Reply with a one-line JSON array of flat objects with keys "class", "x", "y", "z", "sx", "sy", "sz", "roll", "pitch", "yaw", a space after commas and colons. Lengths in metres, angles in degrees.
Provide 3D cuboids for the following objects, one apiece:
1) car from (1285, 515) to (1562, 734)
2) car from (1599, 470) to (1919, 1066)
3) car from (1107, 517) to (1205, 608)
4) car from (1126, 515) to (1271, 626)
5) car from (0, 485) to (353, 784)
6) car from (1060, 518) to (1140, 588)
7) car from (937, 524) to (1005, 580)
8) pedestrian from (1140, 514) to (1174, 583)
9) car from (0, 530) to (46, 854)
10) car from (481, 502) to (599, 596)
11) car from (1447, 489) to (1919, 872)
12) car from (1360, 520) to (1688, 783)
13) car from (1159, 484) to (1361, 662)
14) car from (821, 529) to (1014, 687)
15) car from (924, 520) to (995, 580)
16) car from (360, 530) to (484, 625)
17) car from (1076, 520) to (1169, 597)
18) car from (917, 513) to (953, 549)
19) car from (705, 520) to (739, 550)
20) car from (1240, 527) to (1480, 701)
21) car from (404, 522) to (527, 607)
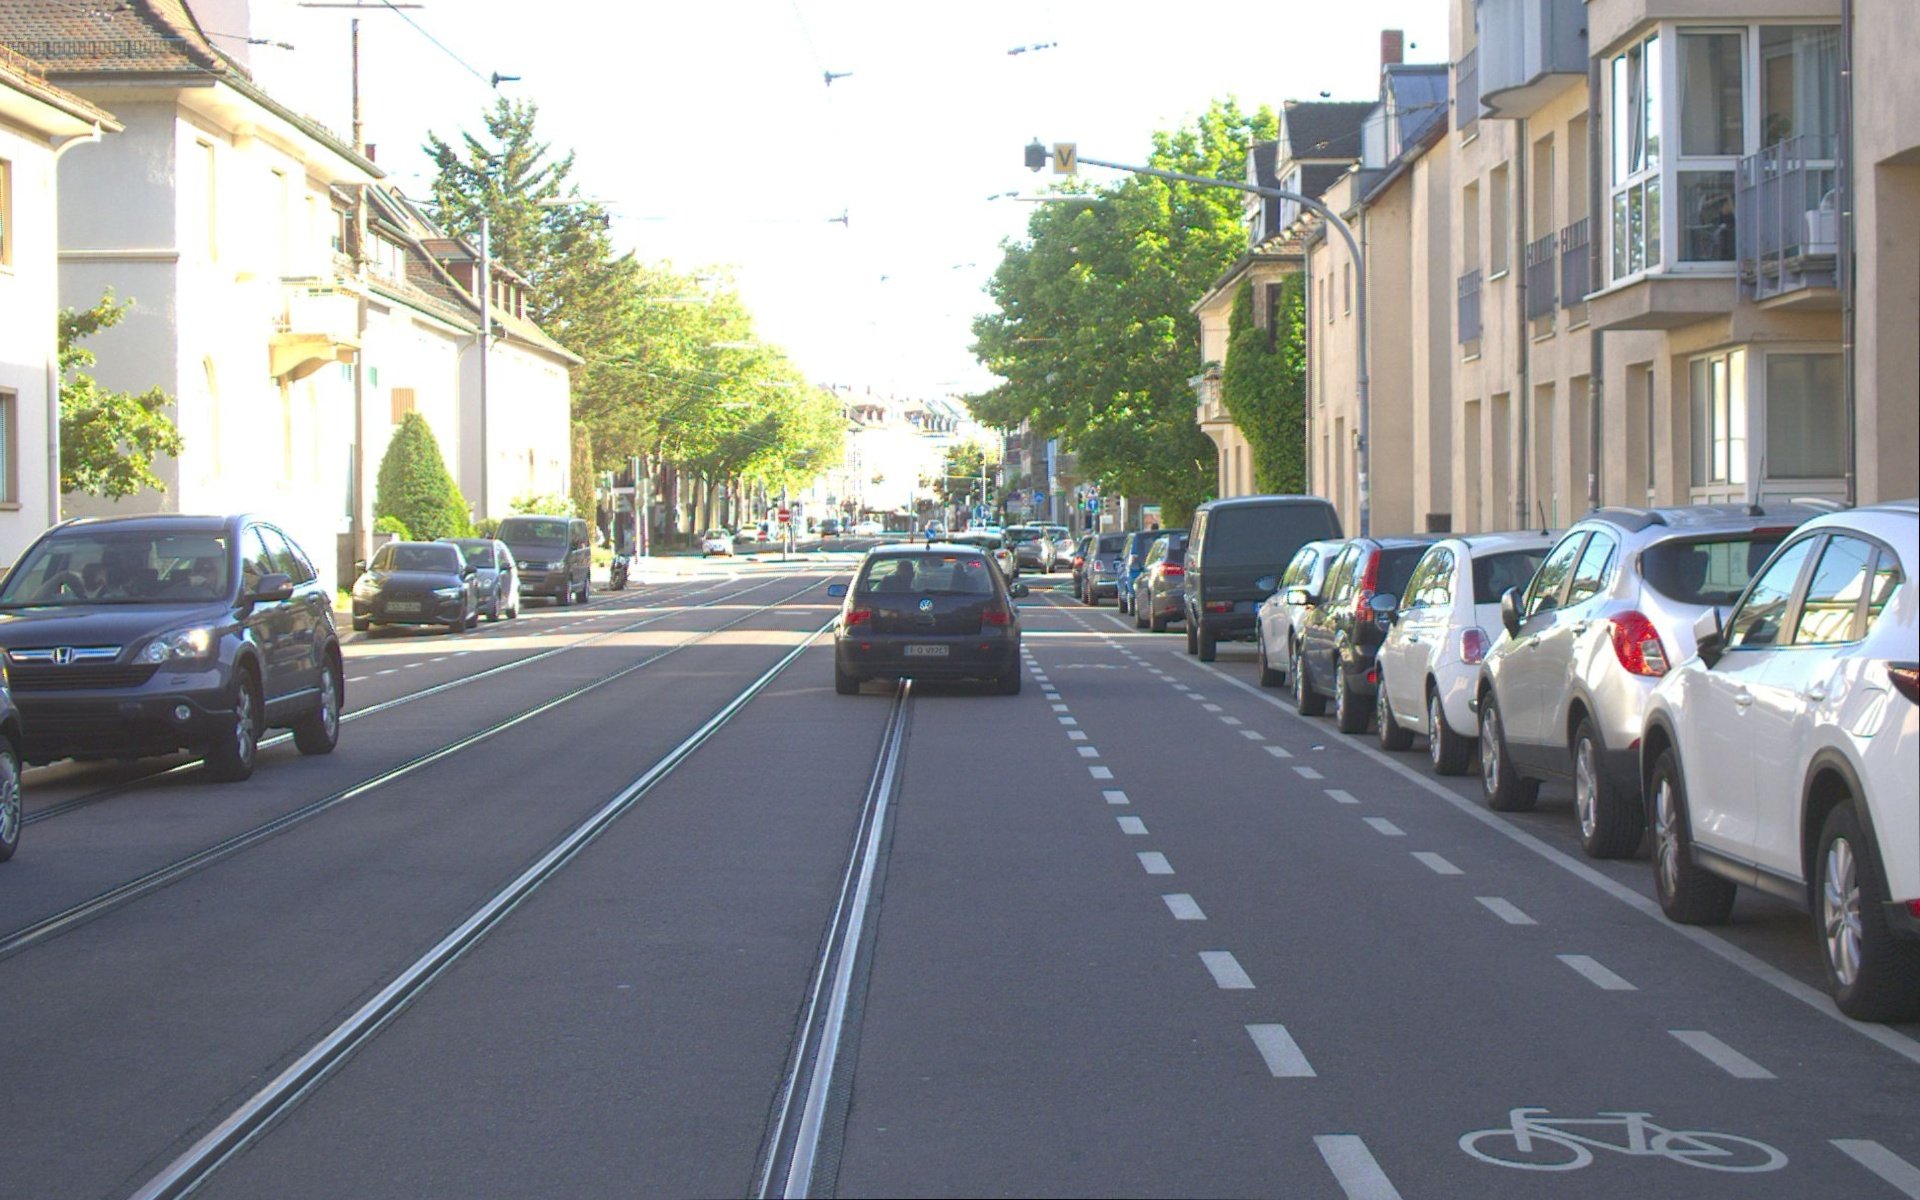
[{"class": "car", "x": 3.531, "y": 0.133, "z": 26.742, "sx": 1.554, "sy": 1.552, "sz": 3.653, "roll": 1, "pitch": 1, "yaw": -1}, {"class": "car", "x": 3.554, "y": 0.462, "z": 12.162, "sx": 1.739, "sy": 1.740, "sz": 4.256, "roll": 1, "pitch": 1, "yaw": 0}, {"class": "car", "x": 3.569, "y": -0.706, "z": 63.083, "sx": 1.457, "sy": 1.593, "sz": 3.294, "roll": 1, "pitch": 1, "yaw": -2}, {"class": "car", "x": 3.656, "y": -0.493, "z": 53.325, "sx": 1.744, "sy": 1.593, "sz": 4.434, "roll": 1, "pitch": 1, "yaw": -2}, {"class": "car", "x": -5.147, "y": 0.163, "z": 22.042, "sx": 1.703, "sy": 1.699, "sz": 4.364, "roll": -2, "pitch": 1, "yaw": 0}, {"class": "car", "x": 3.242, "y": -1.104, "z": 80.098, "sx": 1.665, "sy": 1.558, "sz": 3.771, "roll": 1, "pitch": 1, "yaw": 0}, {"class": "car", "x": 0.281, "y": -1.287, "z": 90.579, "sx": 1.740, "sy": 1.436, "sz": 3.810, "roll": 0, "pitch": 1, "yaw": 0}, {"class": "pedestrian", "x": 4.865, "y": -1.284, "z": 84.868, "sx": 0.717, "sy": 1.682, "sz": 0.870, "roll": -1, "pitch": 1, "yaw": -1}, {"class": "car", "x": -5.139, "y": 0.460, "z": 14.179, "sx": 1.617, "sy": 1.456, "sz": 4.075, "roll": -2, "pitch": 1, "yaw": 0}, {"class": "car", "x": -9.383, "y": -1.165, "z": 77.135, "sx": 1.906, "sy": 2.007, "sz": 4.949, "roll": 1, "pitch": 1, "yaw": 1}, {"class": "car", "x": 3.622, "y": 0.316, "z": 17.507, "sx": 1.602, "sy": 1.694, "sz": 3.990, "roll": 1, "pitch": 1, "yaw": -1}, {"class": "car", "x": 3.615, "y": 0.273, "z": 22.540, "sx": 1.496, "sy": 1.552, "sz": 3.365, "roll": 1, "pitch": 1, "yaw": -1}, {"class": "car", "x": 3.553, "y": -0.364, "z": 41.501, "sx": 1.905, "sy": 1.980, "sz": 4.563, "roll": 1, "pitch": 1, "yaw": -1}, {"class": "car", "x": -0.382, "y": 0.032, "z": 32.620, "sx": 1.716, "sy": 1.398, "sz": 4.006, "roll": 0, "pitch": 1, "yaw": 0}, {"class": "car", "x": -0.002, "y": -1.195, "z": 81.567, "sx": 1.634, "sy": 1.367, "sz": 3.757, "roll": 0, "pitch": 1, "yaw": 1}, {"class": "car", "x": -8.802, "y": -0.397, "z": 56.476, "sx": 1.662, "sy": 1.472, "sz": 4.251, "roll": 0, "pitch": 1, "yaw": -4}, {"class": "car", "x": 3.369, "y": -0.890, "z": 71.687, "sx": 1.601, "sy": 1.520, "sz": 3.550, "roll": 1, "pitch": 1, "yaw": -2}, {"class": "car", "x": -1.372, "y": -3.746, "z": 185.758, "sx": 1.787, "sy": 1.853, "sz": 4.001, "roll": 2, "pitch": 1, "yaw": -2}, {"class": "car", "x": -12.084, "y": -3.294, "z": 174.582, "sx": 1.575, "sy": 1.472, "sz": 3.442, "roll": -1, "pitch": 1, "yaw": -6}, {"class": "car", "x": 3.710, "y": 0.081, "z": 32.512, "sx": 1.677, "sy": 1.486, "sz": 4.173, "roll": 1, "pitch": 1, "yaw": -1}, {"class": "car", "x": -9.067, "y": -0.676, "z": 63.238, "sx": 1.676, "sy": 1.472, "sz": 3.835, "roll": 1, "pitch": 1, "yaw": 0}]
